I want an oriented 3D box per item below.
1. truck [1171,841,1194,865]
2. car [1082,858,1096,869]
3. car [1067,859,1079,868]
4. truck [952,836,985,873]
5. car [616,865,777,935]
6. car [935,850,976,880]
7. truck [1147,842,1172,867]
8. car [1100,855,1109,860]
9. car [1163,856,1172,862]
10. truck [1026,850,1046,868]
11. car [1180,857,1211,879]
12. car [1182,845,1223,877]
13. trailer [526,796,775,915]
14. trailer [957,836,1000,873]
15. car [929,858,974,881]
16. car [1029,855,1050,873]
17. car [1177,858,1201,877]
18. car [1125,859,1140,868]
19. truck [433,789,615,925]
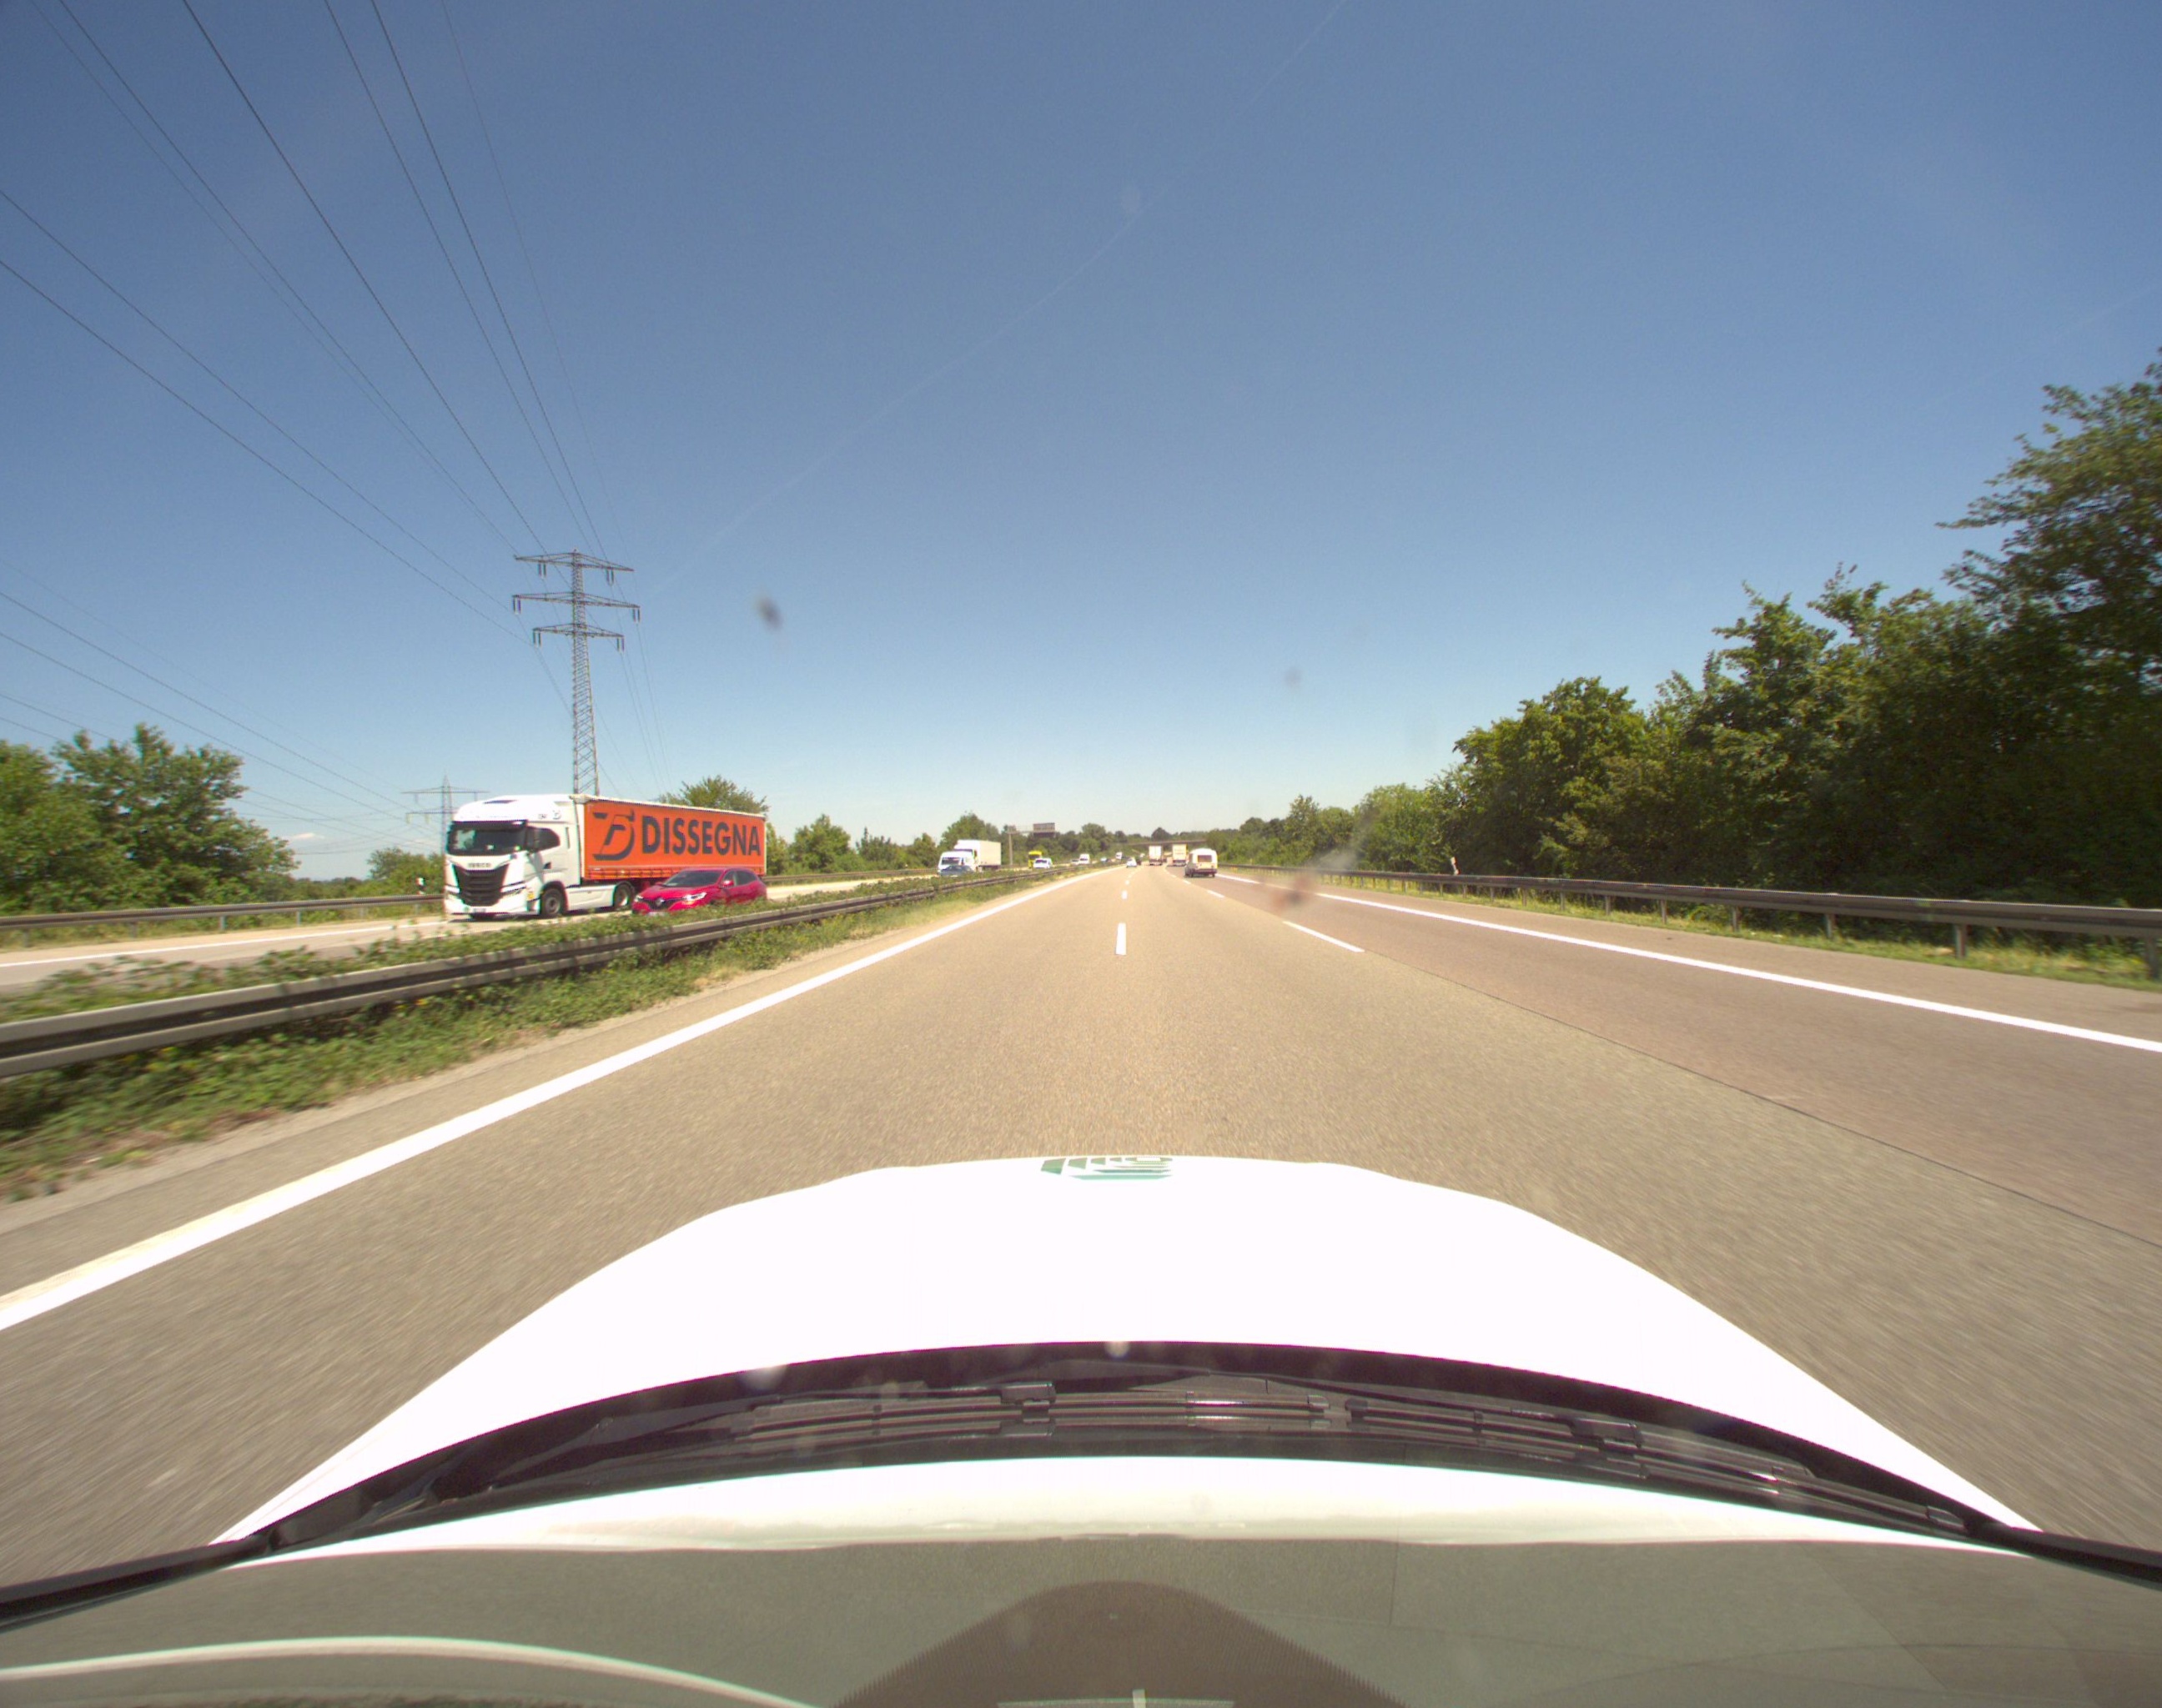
[{"bbox_3d":[19.778,-0.249,158.230,3.161,4.304,16.068,-1,1,11],"label":"truck"},{"bbox_3d":[1.476,1.705,149.647,1.984,1.882,5.730,-1,0,5],"label":"car"},{"bbox_3d":[-1.590,1.914,166.250,1.985,1.736,4.819,-1,0,4],"label":"car"},{"bbox_3d":[-12.932,0.112,94.070,2.818,4.082,5.170,-1,-1,3],"label":"truck"},{"bbox_3d":[-9.888,1.105,21.421,1.986,1.549,4.449,-1,0,2],"label":"car"},{"bbox_3d":[-10.821,0.964,70.597,1.984,2.471,6.498,-1,0,4],"label":"car"},{"bbox_3d":[16.546,-0.008,170.146,3.643,5.018,16.066,-1,1,11],"label":"truck"},{"bbox_3d":[7.466,1.042,255.286,1.980,1.458,4.101,-1,0,12],"label":"car"},{"bbox_3d":[22.765,1.418,214.055,1.814,1.547,4.336,0,0,15],"label":"car"},{"bbox_3d":[-8.187,0.932,148.906,2.511,3.152,9.676,-1,0,3],"label":"truck"},{"bbox_3d":[9.697,1.148,69.405,2.037,1.658,5.513,-2,1,2],"label":"car"},{"bbox_3d":[9.414,0.492,63.648,2.433,2.321,5.323,-2,1,1],"label":"car"},{"bbox_3d":[-17.340,-0.055,34.760,2.495,4.042,13.601,-1,1,4],"label":"trailer"},{"bbox_3d":[-12.499,0.135,101.008,2.823,4.258,13.648,-1,-1,3],"label":"trailer"},{"bbox_3d":[-8.630,0.990,54.482,1.985,1.327,4.776,-1,1,3],"label":"car"},{"bbox_3d":[-4.888,1.161,96.882,1.985,1.939,5.342,-1,1,3],"label":"car"},{"bbox_3d":[9.312,1.155,70.826,1.878,1.515,5.388,0,0,5],"label":"car"},{"bbox_3d":[8.885,1.667,140.626,1.814,1.547,4.336,0,0,15],"label":"car"},{"bbox_3d":[-17.911,0.067,26.557,2.471,4.019,4.607,-1,1,4],"label":"truck"}]
